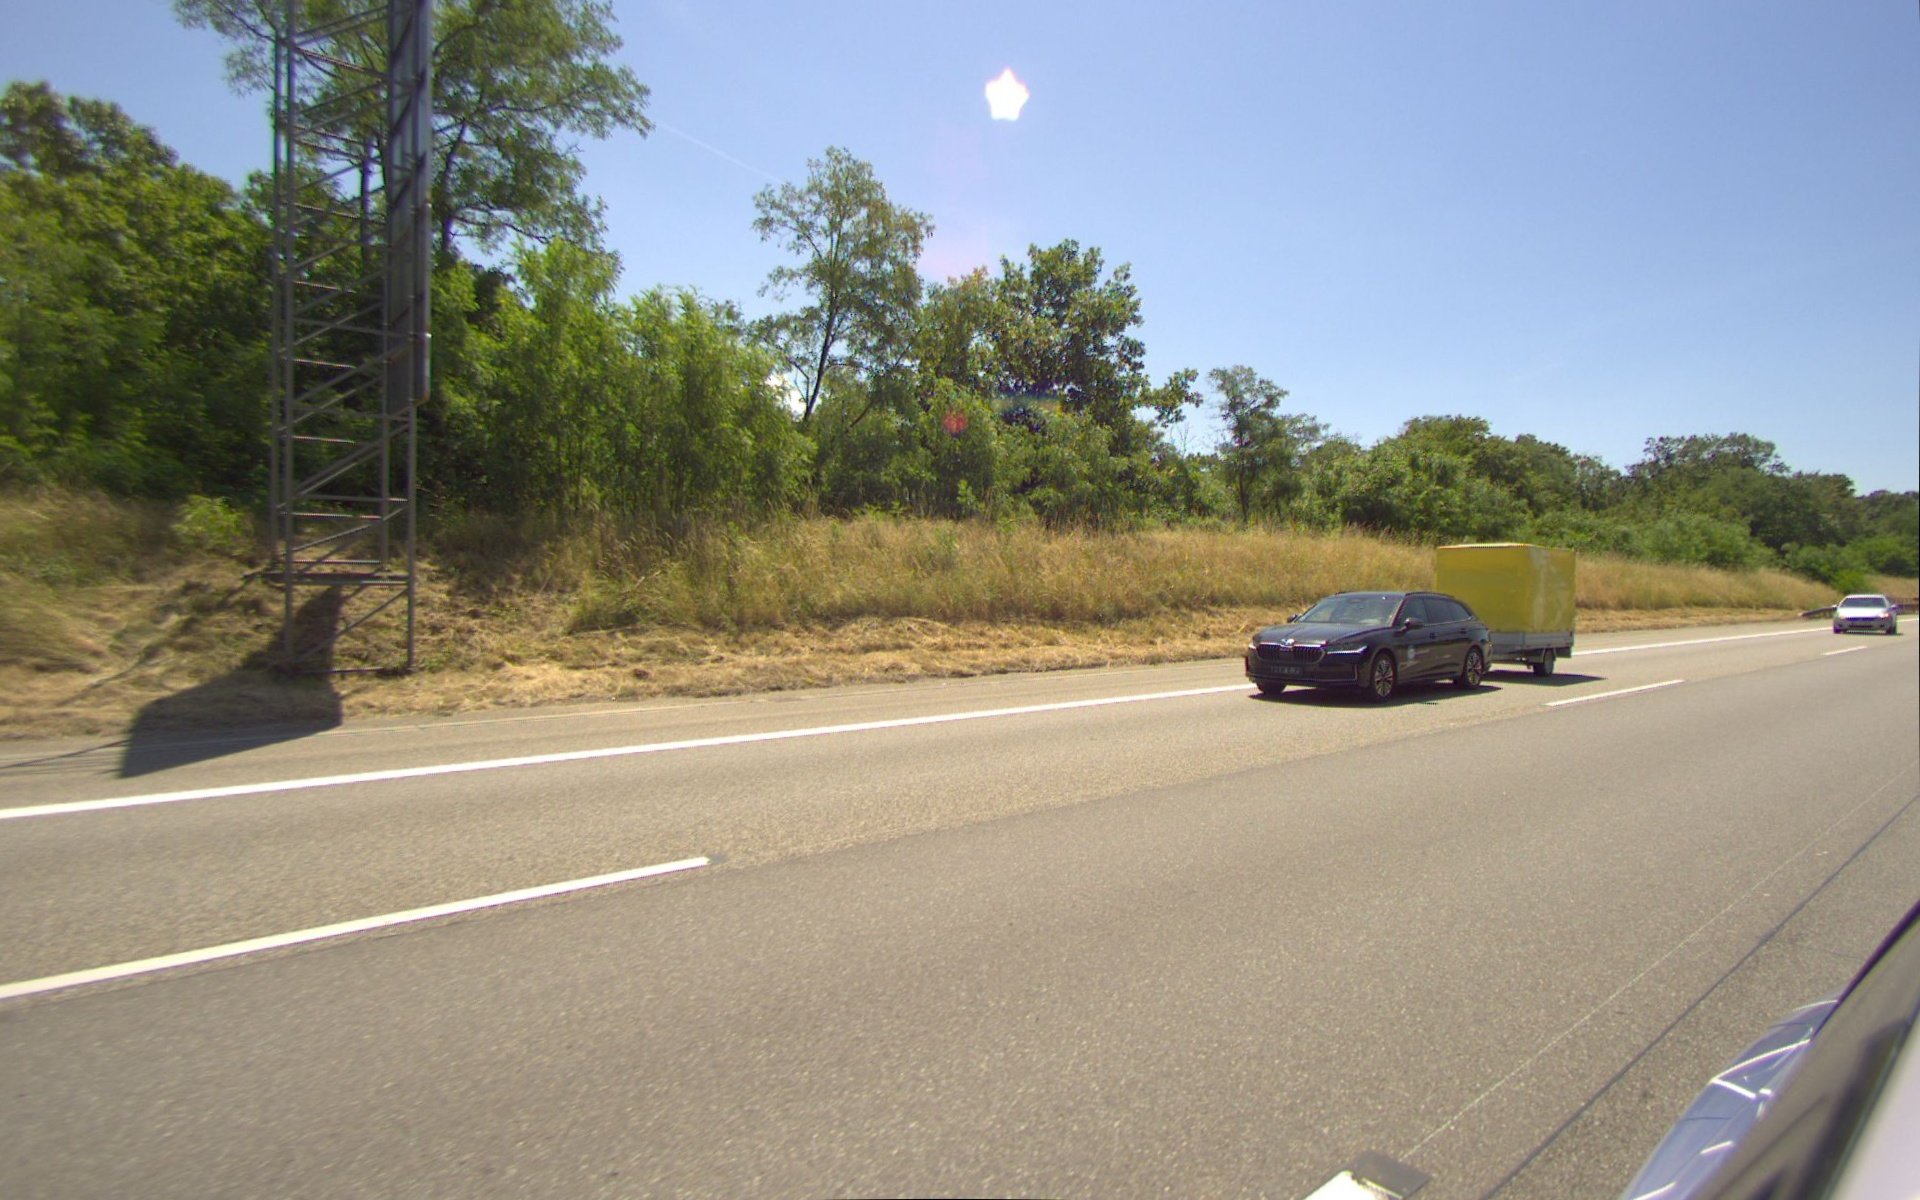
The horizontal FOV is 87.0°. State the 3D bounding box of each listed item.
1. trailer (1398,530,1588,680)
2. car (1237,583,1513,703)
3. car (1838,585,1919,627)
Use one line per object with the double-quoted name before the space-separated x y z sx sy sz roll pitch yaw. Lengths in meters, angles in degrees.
"trailer" 9.327 0.052 17.600 3.773 2.318 1.706 0 1 -41
"car" 6.155 0.500 14.714 4.705 1.474 1.824 0 1 -41
"car" 34.589 0.197 38.063 3.909 1.484 1.749 0 0 -40
